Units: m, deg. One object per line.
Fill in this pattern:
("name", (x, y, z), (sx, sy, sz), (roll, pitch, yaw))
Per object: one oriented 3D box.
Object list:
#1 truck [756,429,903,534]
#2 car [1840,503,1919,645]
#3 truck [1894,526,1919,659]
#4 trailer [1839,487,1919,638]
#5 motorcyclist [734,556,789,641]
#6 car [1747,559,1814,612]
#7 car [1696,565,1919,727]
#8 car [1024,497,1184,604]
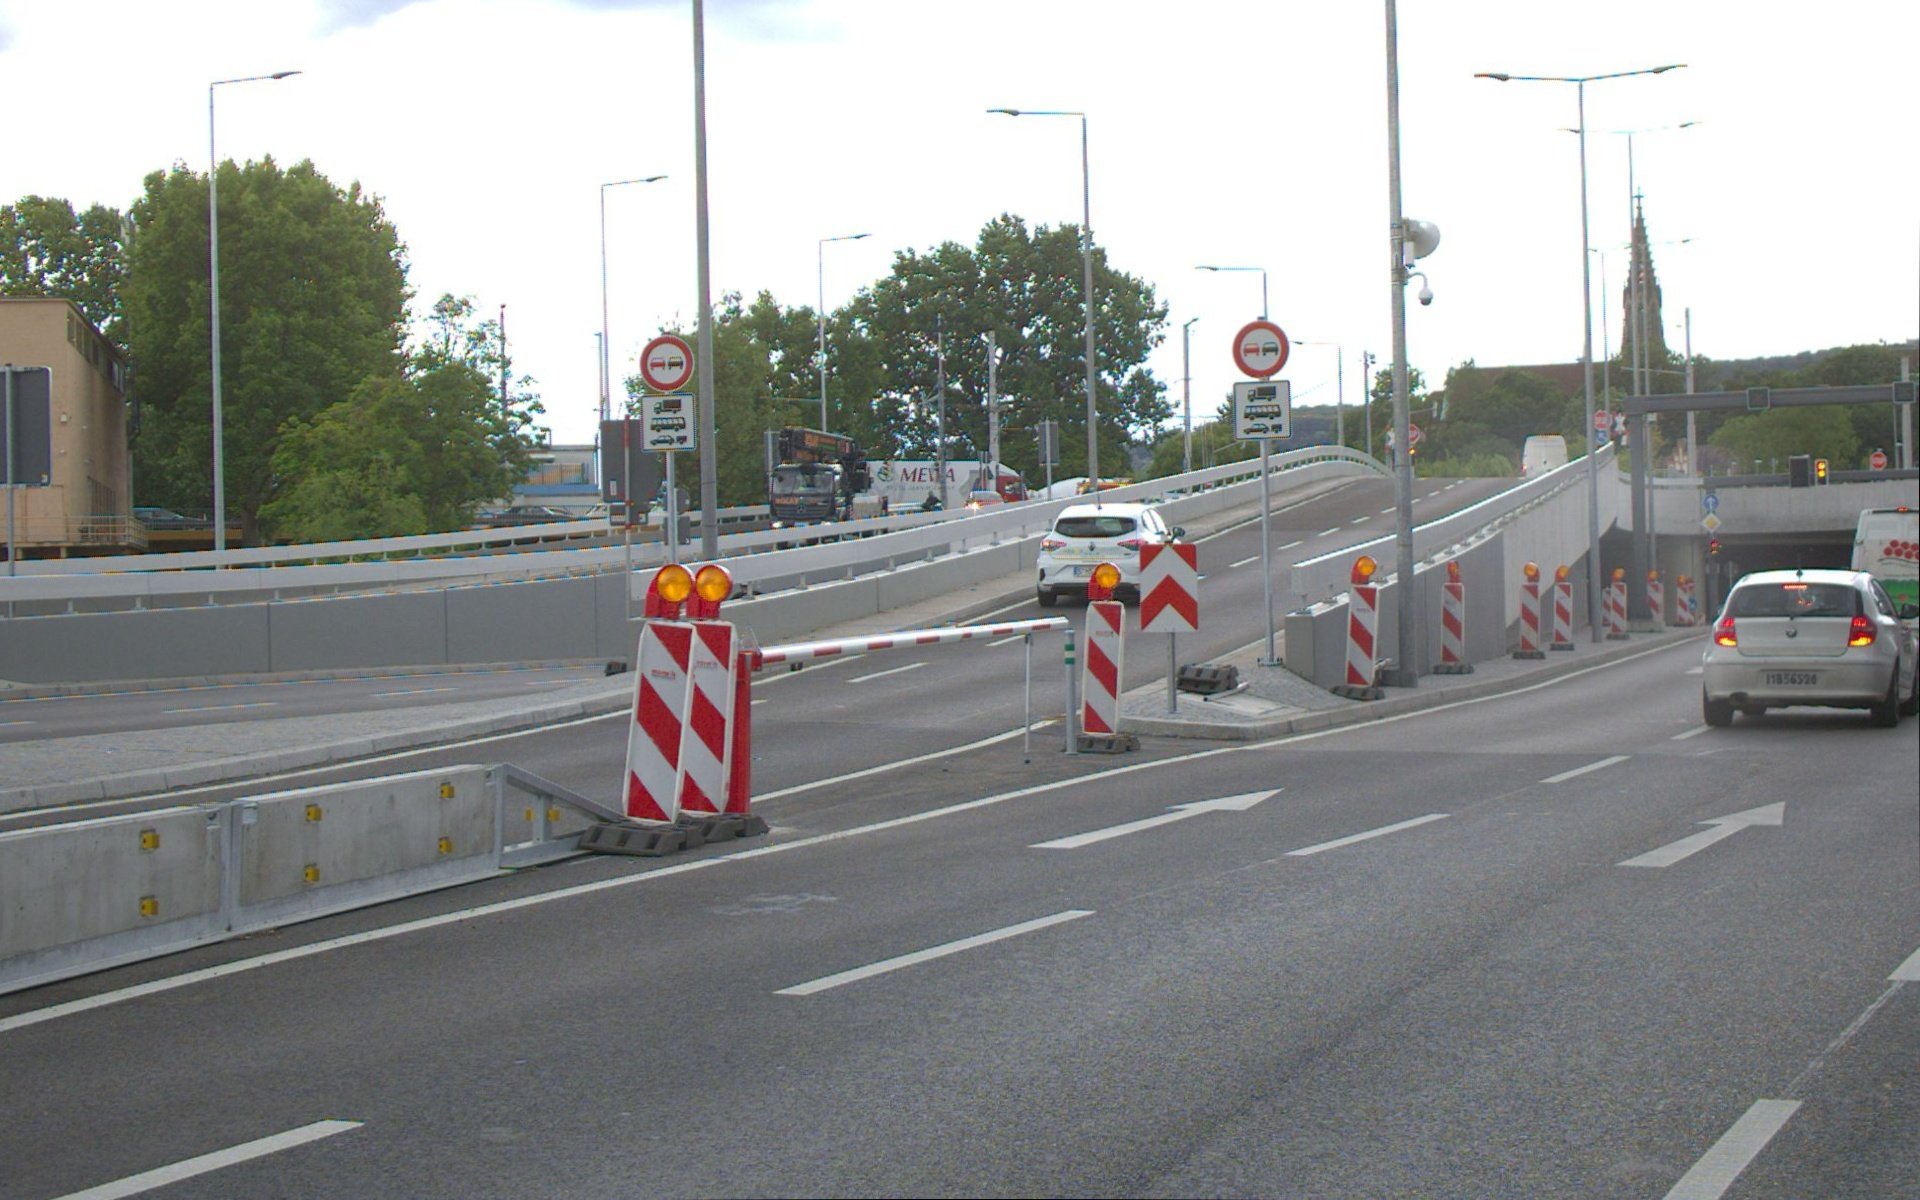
("truck", (-4.383, -4.147, 118.233), (2.734, 3.378, 10.616), (1, 3, 10))
("car", (18.432, -0.469, 67.449), (2.059, 2.619, 5.938), (3, 0, 14))
("truck", (15.826, -0.067, 54.221), (1.995, 2.024, 3.830), (3, 0, 15))
("trailer", (17.397, -0.637, 63.396), (2.105, 2.630, 4.807), (3, 0, 14))
("motorcyclist", (-3.756, -0.031, 65.227), (0.665, 1.600, 1.102), (0, 0, 18))
("car", (24.882, -0.429, 104.369), (1.660, 1.483, 3.565), (-1, -1, 9))
("car", (8.054, 0.397, 32.404), (1.718, 1.393, 4.343), (1, 0, 18))
("car", (2.127, -0.691, 49.877), (1.744, 1.427, 3.774), (3, 0, 10))
